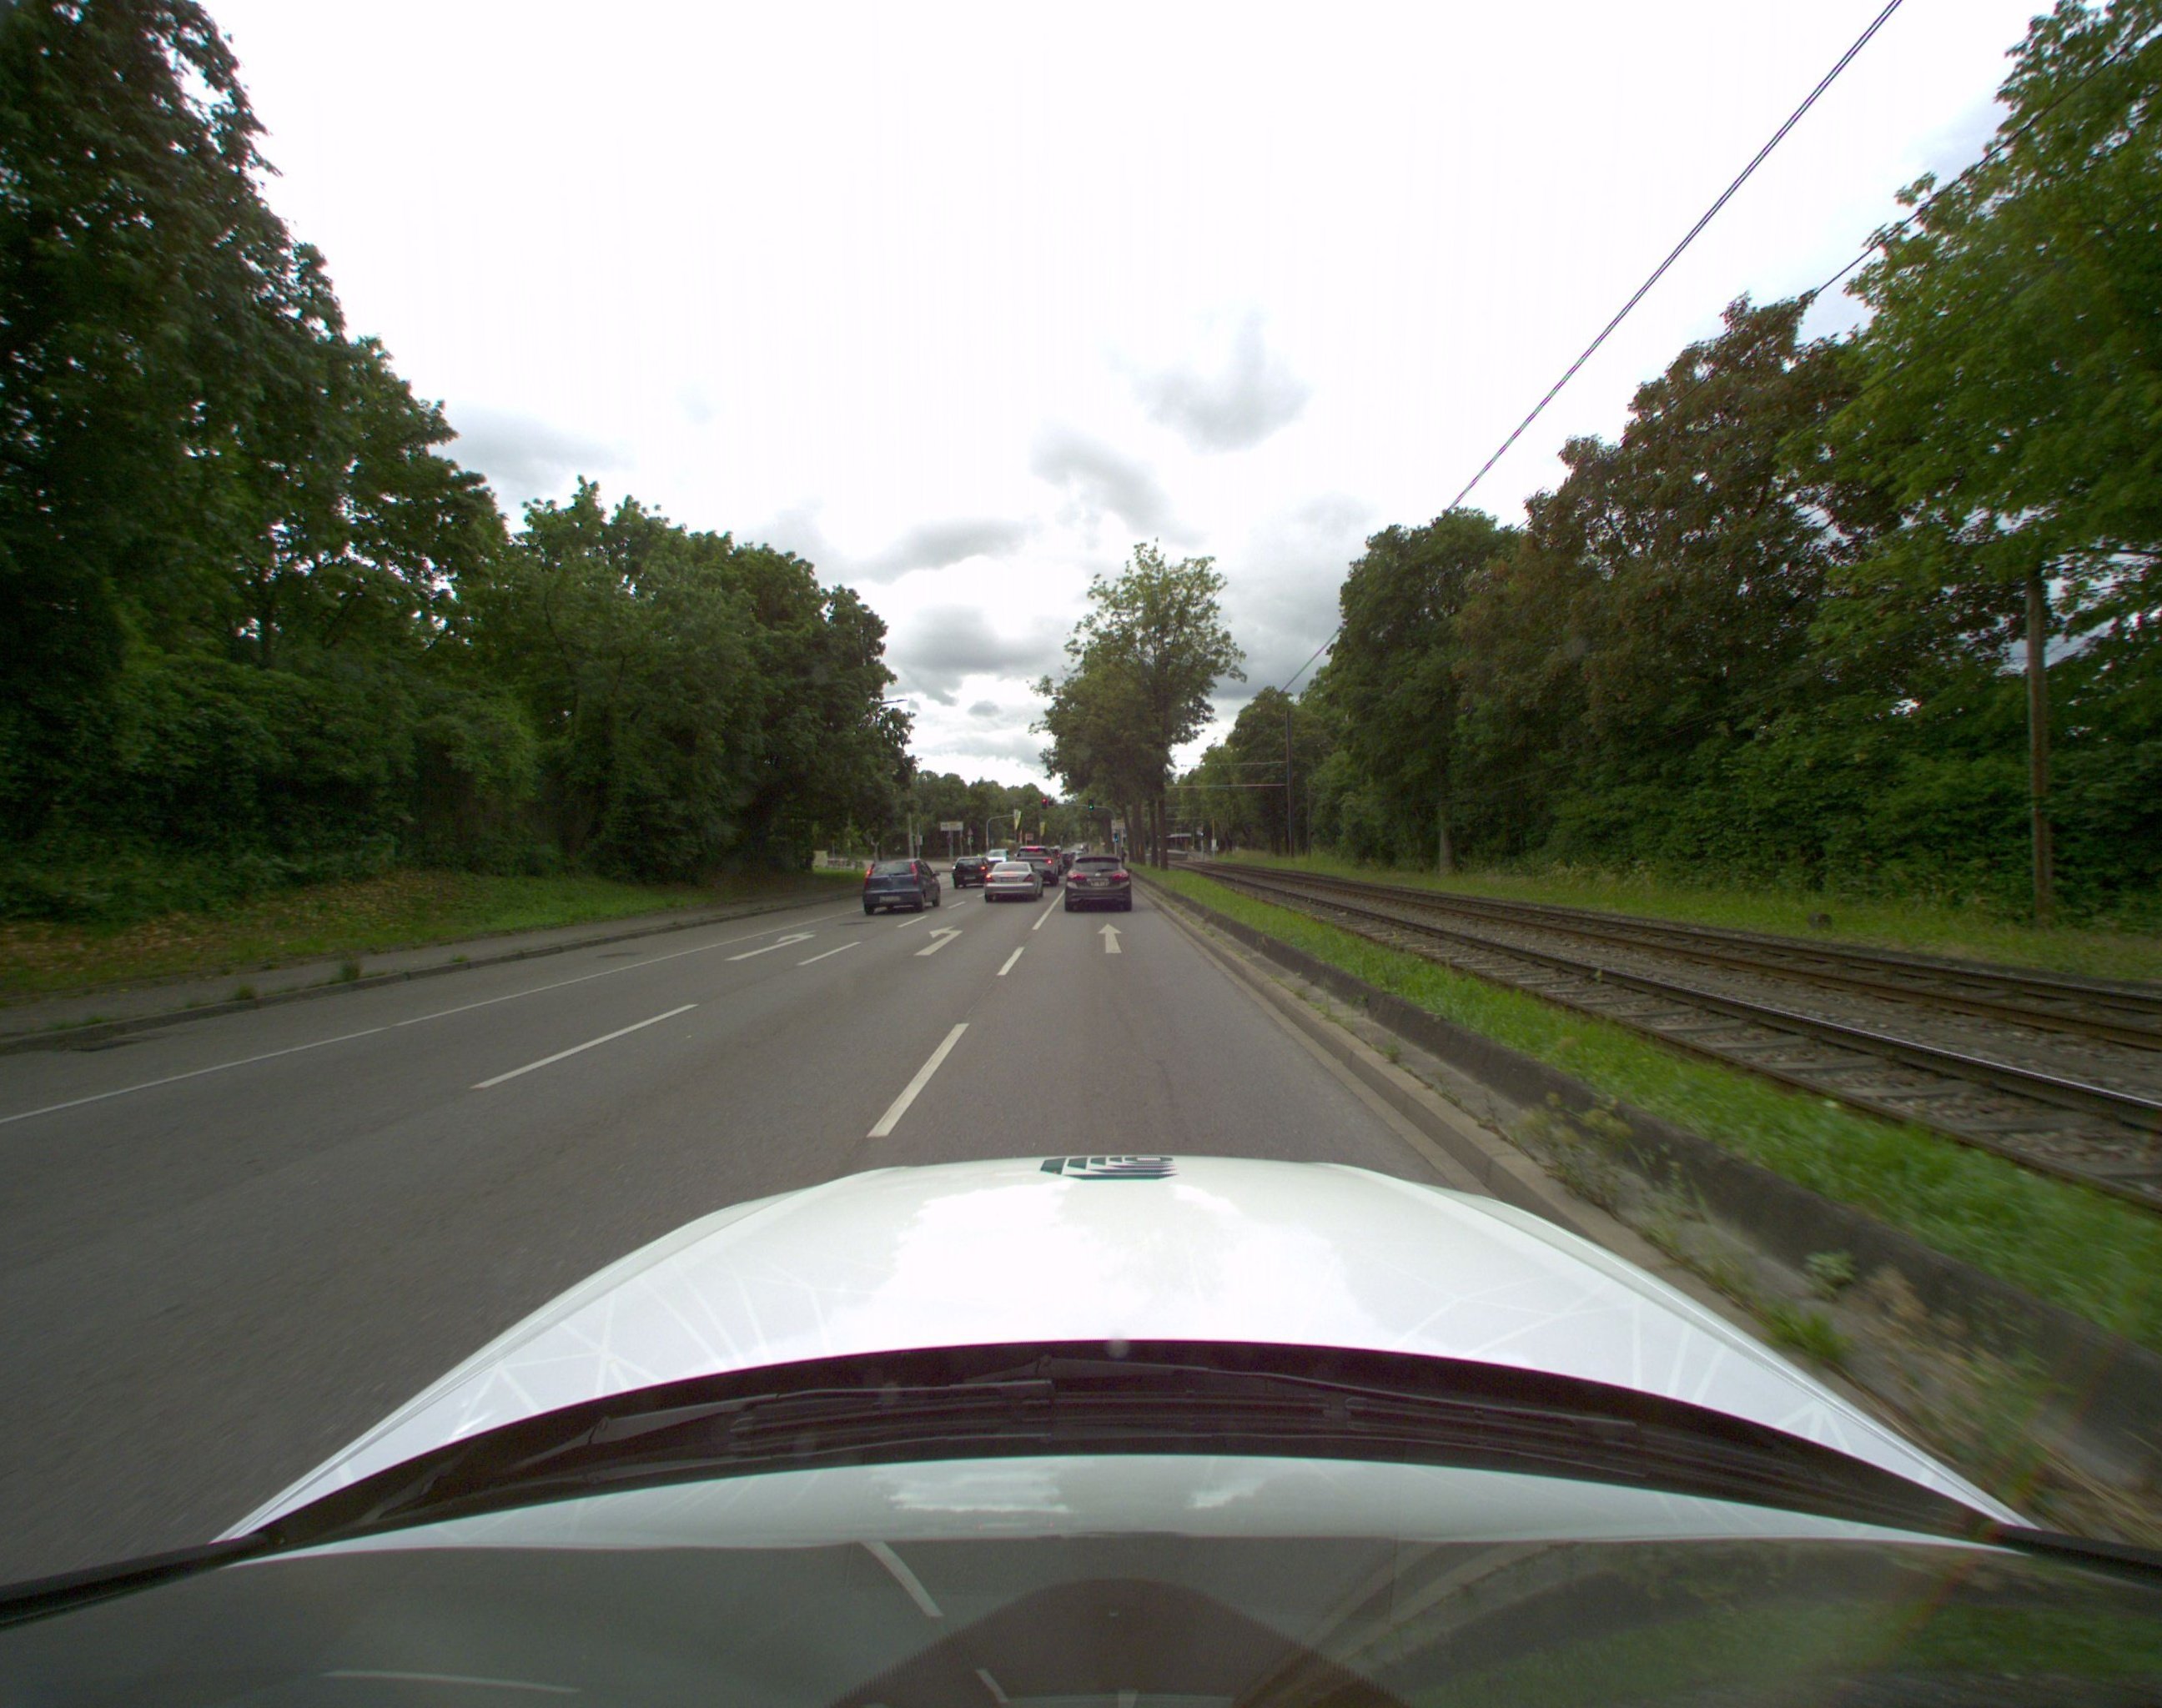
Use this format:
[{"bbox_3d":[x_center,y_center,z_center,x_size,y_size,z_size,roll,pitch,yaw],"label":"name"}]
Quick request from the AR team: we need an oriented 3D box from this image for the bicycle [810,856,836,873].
[{"bbox_3d":[-20.113,0.803,63.612,0.539,1.252,1.947,0,0,38],"label":"bicycle"}]

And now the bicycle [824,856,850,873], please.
[{"bbox_3d":[-18.689,0.813,62.327,0.539,1.252,1.947,0,0,38],"label":"bicycle"}]

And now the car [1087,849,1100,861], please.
[{"bbox_3d":[1.650,0.128,107.203,1.497,1.528,3.674,0,0,2],"label":"car"}]

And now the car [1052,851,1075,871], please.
[{"bbox_3d":[-1.393,0.535,65.503,1.698,1.480,3.668,-1,0,1],"label":"car"}]

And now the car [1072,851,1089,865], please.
[{"bbox_3d":[0.003,0.453,88.845,1.703,1.475,3.674,0,0,2],"label":"car"}]

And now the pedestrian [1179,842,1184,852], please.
[{"bbox_3d":[15.640,-1.144,127.074,0.715,1.511,0.724,1,0,3],"label":"pedestrian"}]

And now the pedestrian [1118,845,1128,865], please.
[{"bbox_3d":[3.912,0.102,75.690,0.748,1.737,0.841,-4,0,5],"label":"pedestrian"}]

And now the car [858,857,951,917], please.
[{"bbox_3d":[-4.970,0.870,23.432,1.585,1.468,3.931,-3,0,2],"label":"car"}]

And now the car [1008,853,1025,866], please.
[{"bbox_3d":[-7.805,0.674,98.405,1.733,1.538,3.910,0,0,1],"label":"car"}]

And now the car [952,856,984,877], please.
[{"bbox_3d":[-7.829,0.838,56.583,1.624,1.395,3.833,-1,0,0],"label":"car"}]

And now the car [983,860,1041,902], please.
[{"bbox_3d":[-2.276,0.875,27.494,1.549,1.267,3.823,-1,0,1],"label":"car"}]

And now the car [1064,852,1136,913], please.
[{"bbox_3d":[0.563,0.731,22.735,1.830,1.528,3.931,0,0,2],"label":"car"}]

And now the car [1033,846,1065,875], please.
[{"bbox_3d":[-2.119,0.402,55.511,1.900,1.843,5.282,-1,0,1],"label":"car"}]

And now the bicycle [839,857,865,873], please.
[{"bbox_3d":[-17.418,0.823,61.865,0.539,1.252,1.947,0,0,38],"label":"bicycle"}]

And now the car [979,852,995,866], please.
[{"bbox_3d":[-12.153,0.657,105.406,1.940,1.811,4.437,0,0,-4],"label":"car"}]

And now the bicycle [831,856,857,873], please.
[{"bbox_3d":[-18.049,0.818,62.162,0.539,1.252,1.947,0,0,38],"label":"bicycle"}]

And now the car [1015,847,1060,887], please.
[{"bbox_3d":[-2.003,0.575,38.794,1.797,1.795,4.504,0,0,1],"label":"car"}]

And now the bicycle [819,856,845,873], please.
[{"bbox_3d":[-19.319,0.809,63.154,0.539,1.252,1.947,0,0,38],"label":"bicycle"}]

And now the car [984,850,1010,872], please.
[{"bbox_3d":[-7.569,0.602,73.829,1.785,1.831,4.409,-2,0,0],"label":"car"}]

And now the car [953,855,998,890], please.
[{"bbox_3d":[-5.027,0.844,39.363,1.551,1.466,3.808,-3,0,1],"label":"car"}]
